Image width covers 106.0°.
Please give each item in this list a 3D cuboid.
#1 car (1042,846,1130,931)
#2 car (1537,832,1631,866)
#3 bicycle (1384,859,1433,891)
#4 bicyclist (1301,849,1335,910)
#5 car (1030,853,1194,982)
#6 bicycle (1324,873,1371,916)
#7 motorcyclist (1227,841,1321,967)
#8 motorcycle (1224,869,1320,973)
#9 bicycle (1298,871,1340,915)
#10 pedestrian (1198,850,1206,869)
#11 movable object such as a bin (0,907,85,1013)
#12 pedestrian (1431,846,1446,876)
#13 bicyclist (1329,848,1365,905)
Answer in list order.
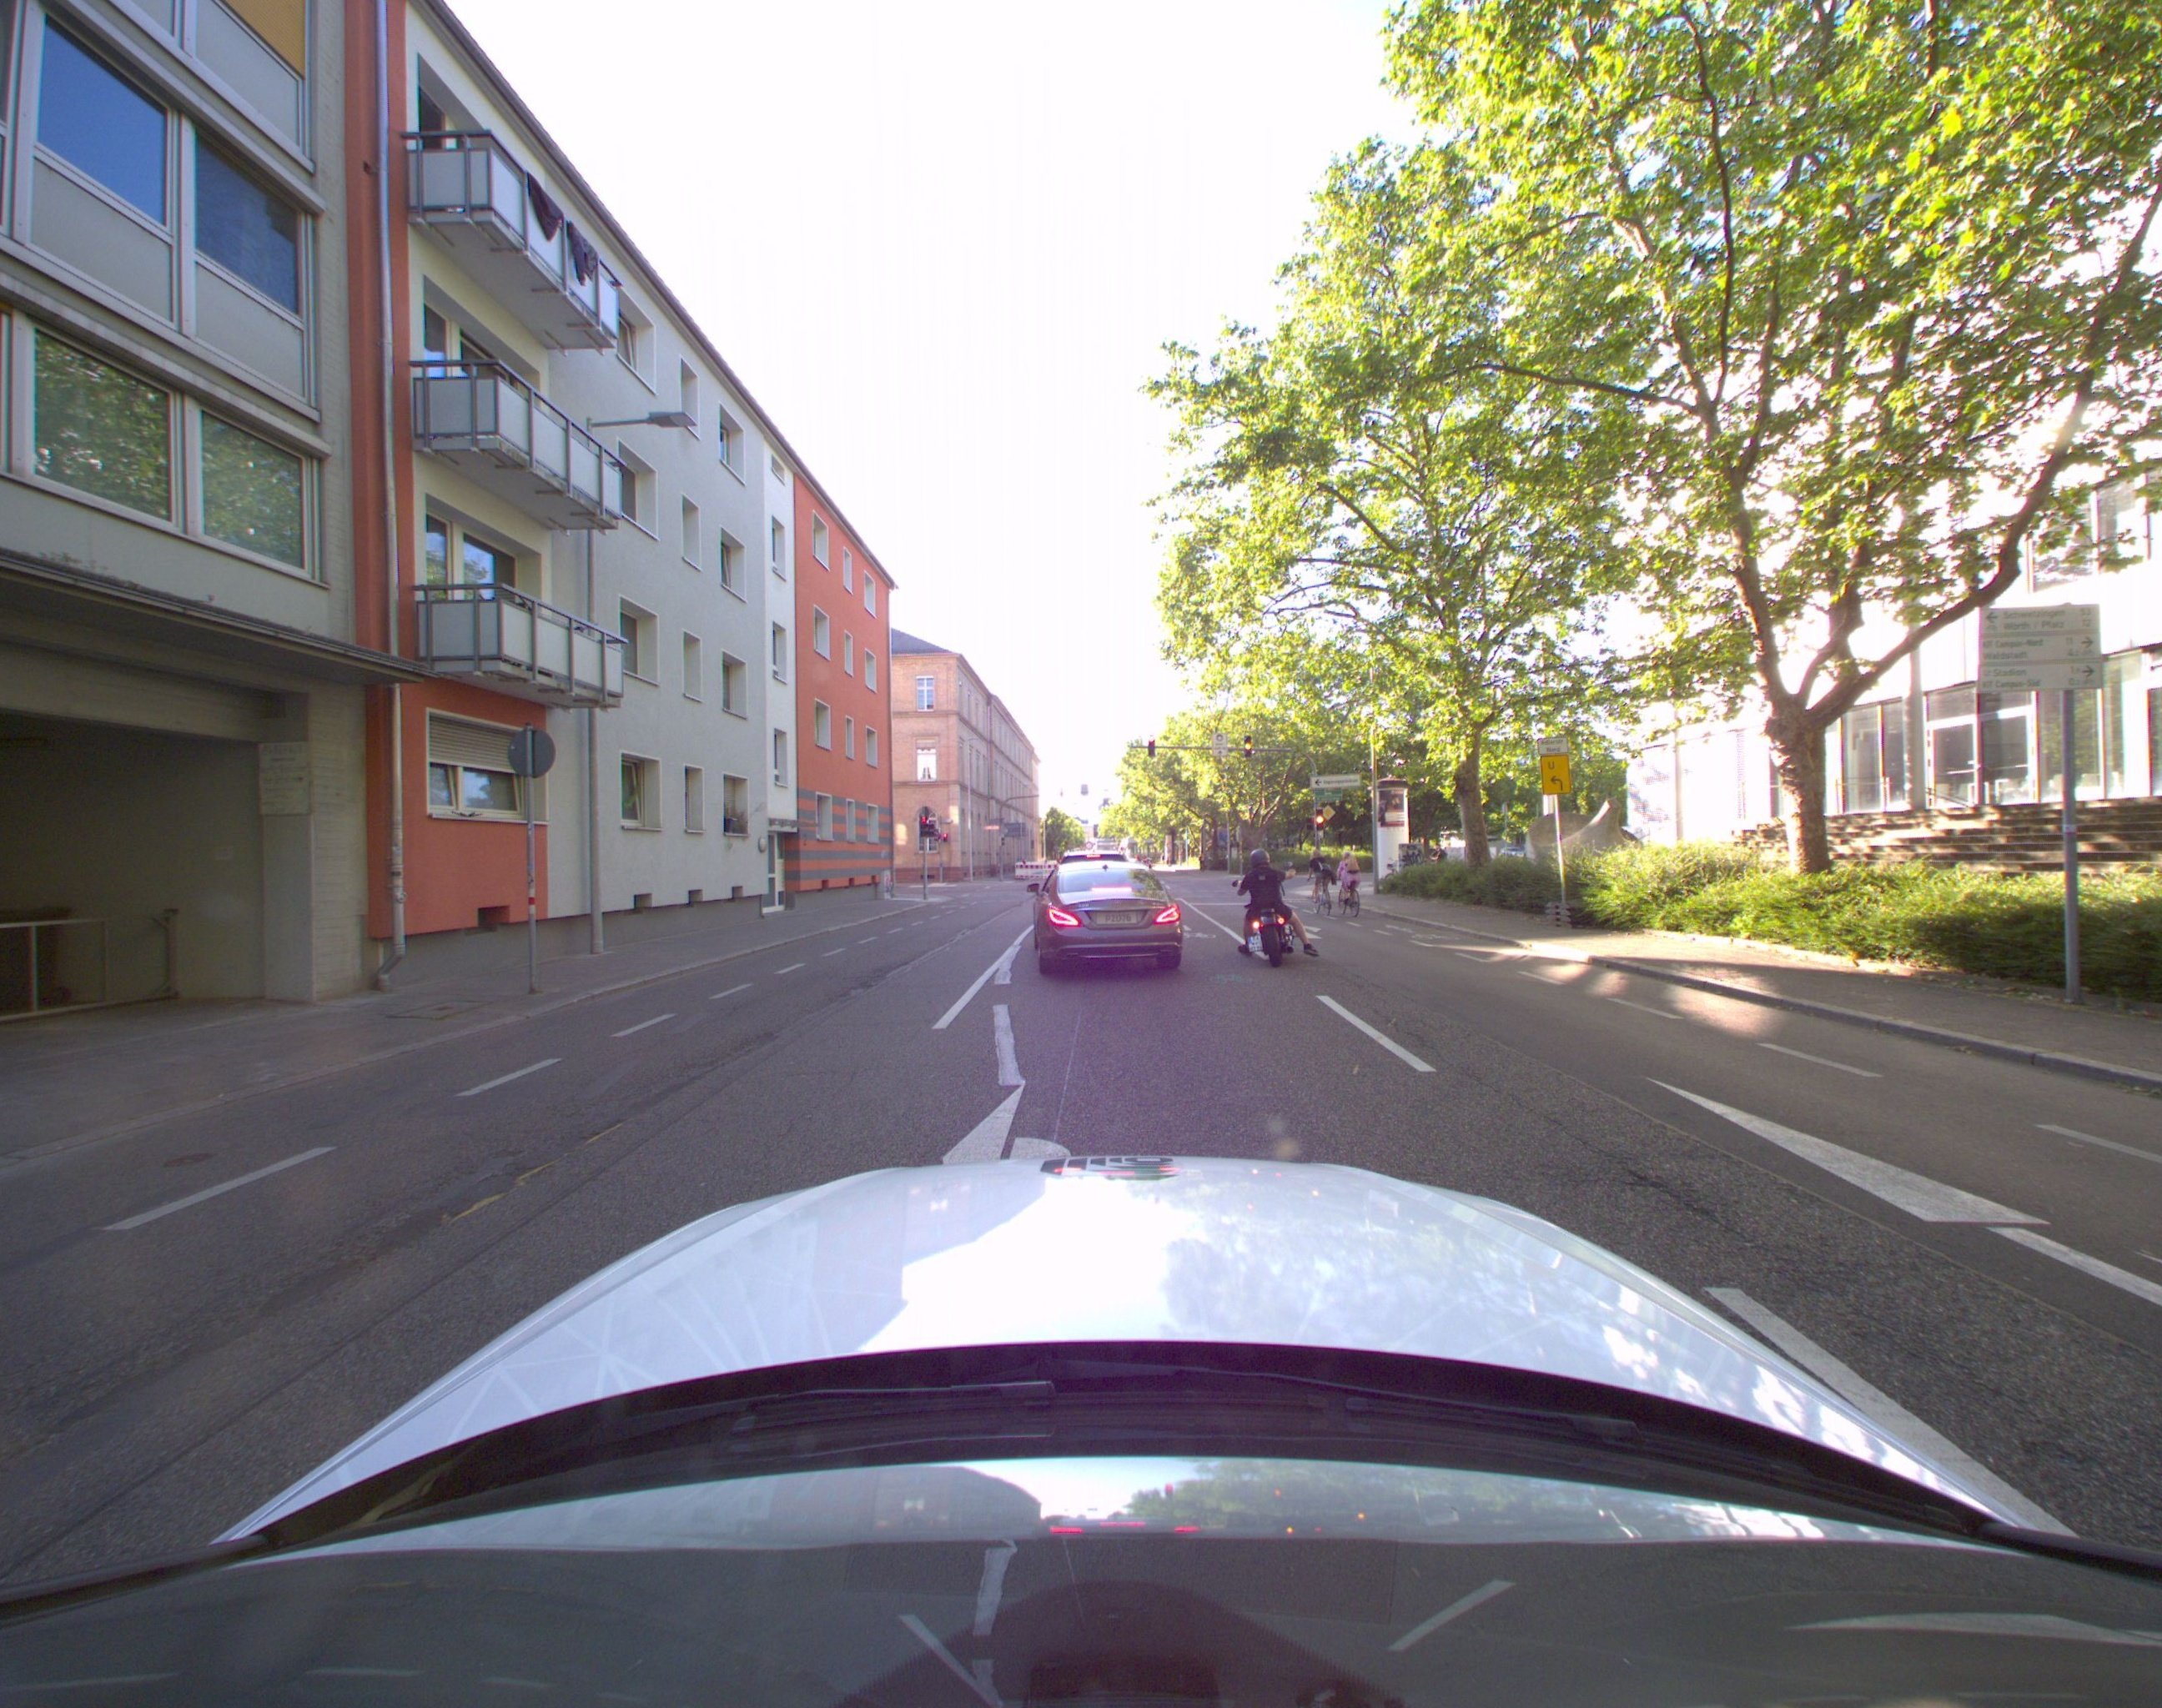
[{"bbox_3d":[0.127,0.675,17.738,1.676,1.625,3.841,-1,0,1],"label":"car"},{"bbox_3d":[28.065,-0.255,45.541,3.975,1.784,2.004,-1,0,7],"label":"car"},{"bbox_3d":[10.980,0.707,27.330,1.411,1.037,0.538,-1,0,-2],"label":"bicycle"},{"bbox_3d":[6.017,0.630,20.699,0.608,1.516,0.890,0,0,2],"label":"bicyclist"},{"bbox_3d":[0.238,0.748,11.761,1.818,1.476,4.346,-1,0,-5],"label":"car"},{"bbox_3d":[6.678,0.990,20.484,0.598,0.985,1.882,1,0,2],"label":"bicycle"},{"bbox_3d":[2.677,0.644,11.193,1.104,1.613,1.208,-1,0,19],"label":"motorcyclist"},{"bbox_3d":[2.739,0.851,11.403,0.999,1.204,2.678,-1,0,19],"label":"motorcycle"},{"bbox_3d":[6.019,0.969,20.677,0.608,1.026,1.732,0,0,2],"label":"bicycle"},{"bbox_3d":[10.404,0.469,70.008,0.557,1.678,0.565,-1,0,1],"label":"pedestrian"},{"bbox_3d":[-11.295,1.105,8.629,0.584,1.040,0.712,-1,0,2],"label":"movable object such as a bin"},{"bbox_3d":[21.037,0.401,47.928,0.617,1.784,0.631,-1,0,4],"label":"pedestrian"},{"bbox_3d":[6.678,0.549,20.467,0.598,1.402,0.931,1,0,2],"label":"bicyclist"}]
